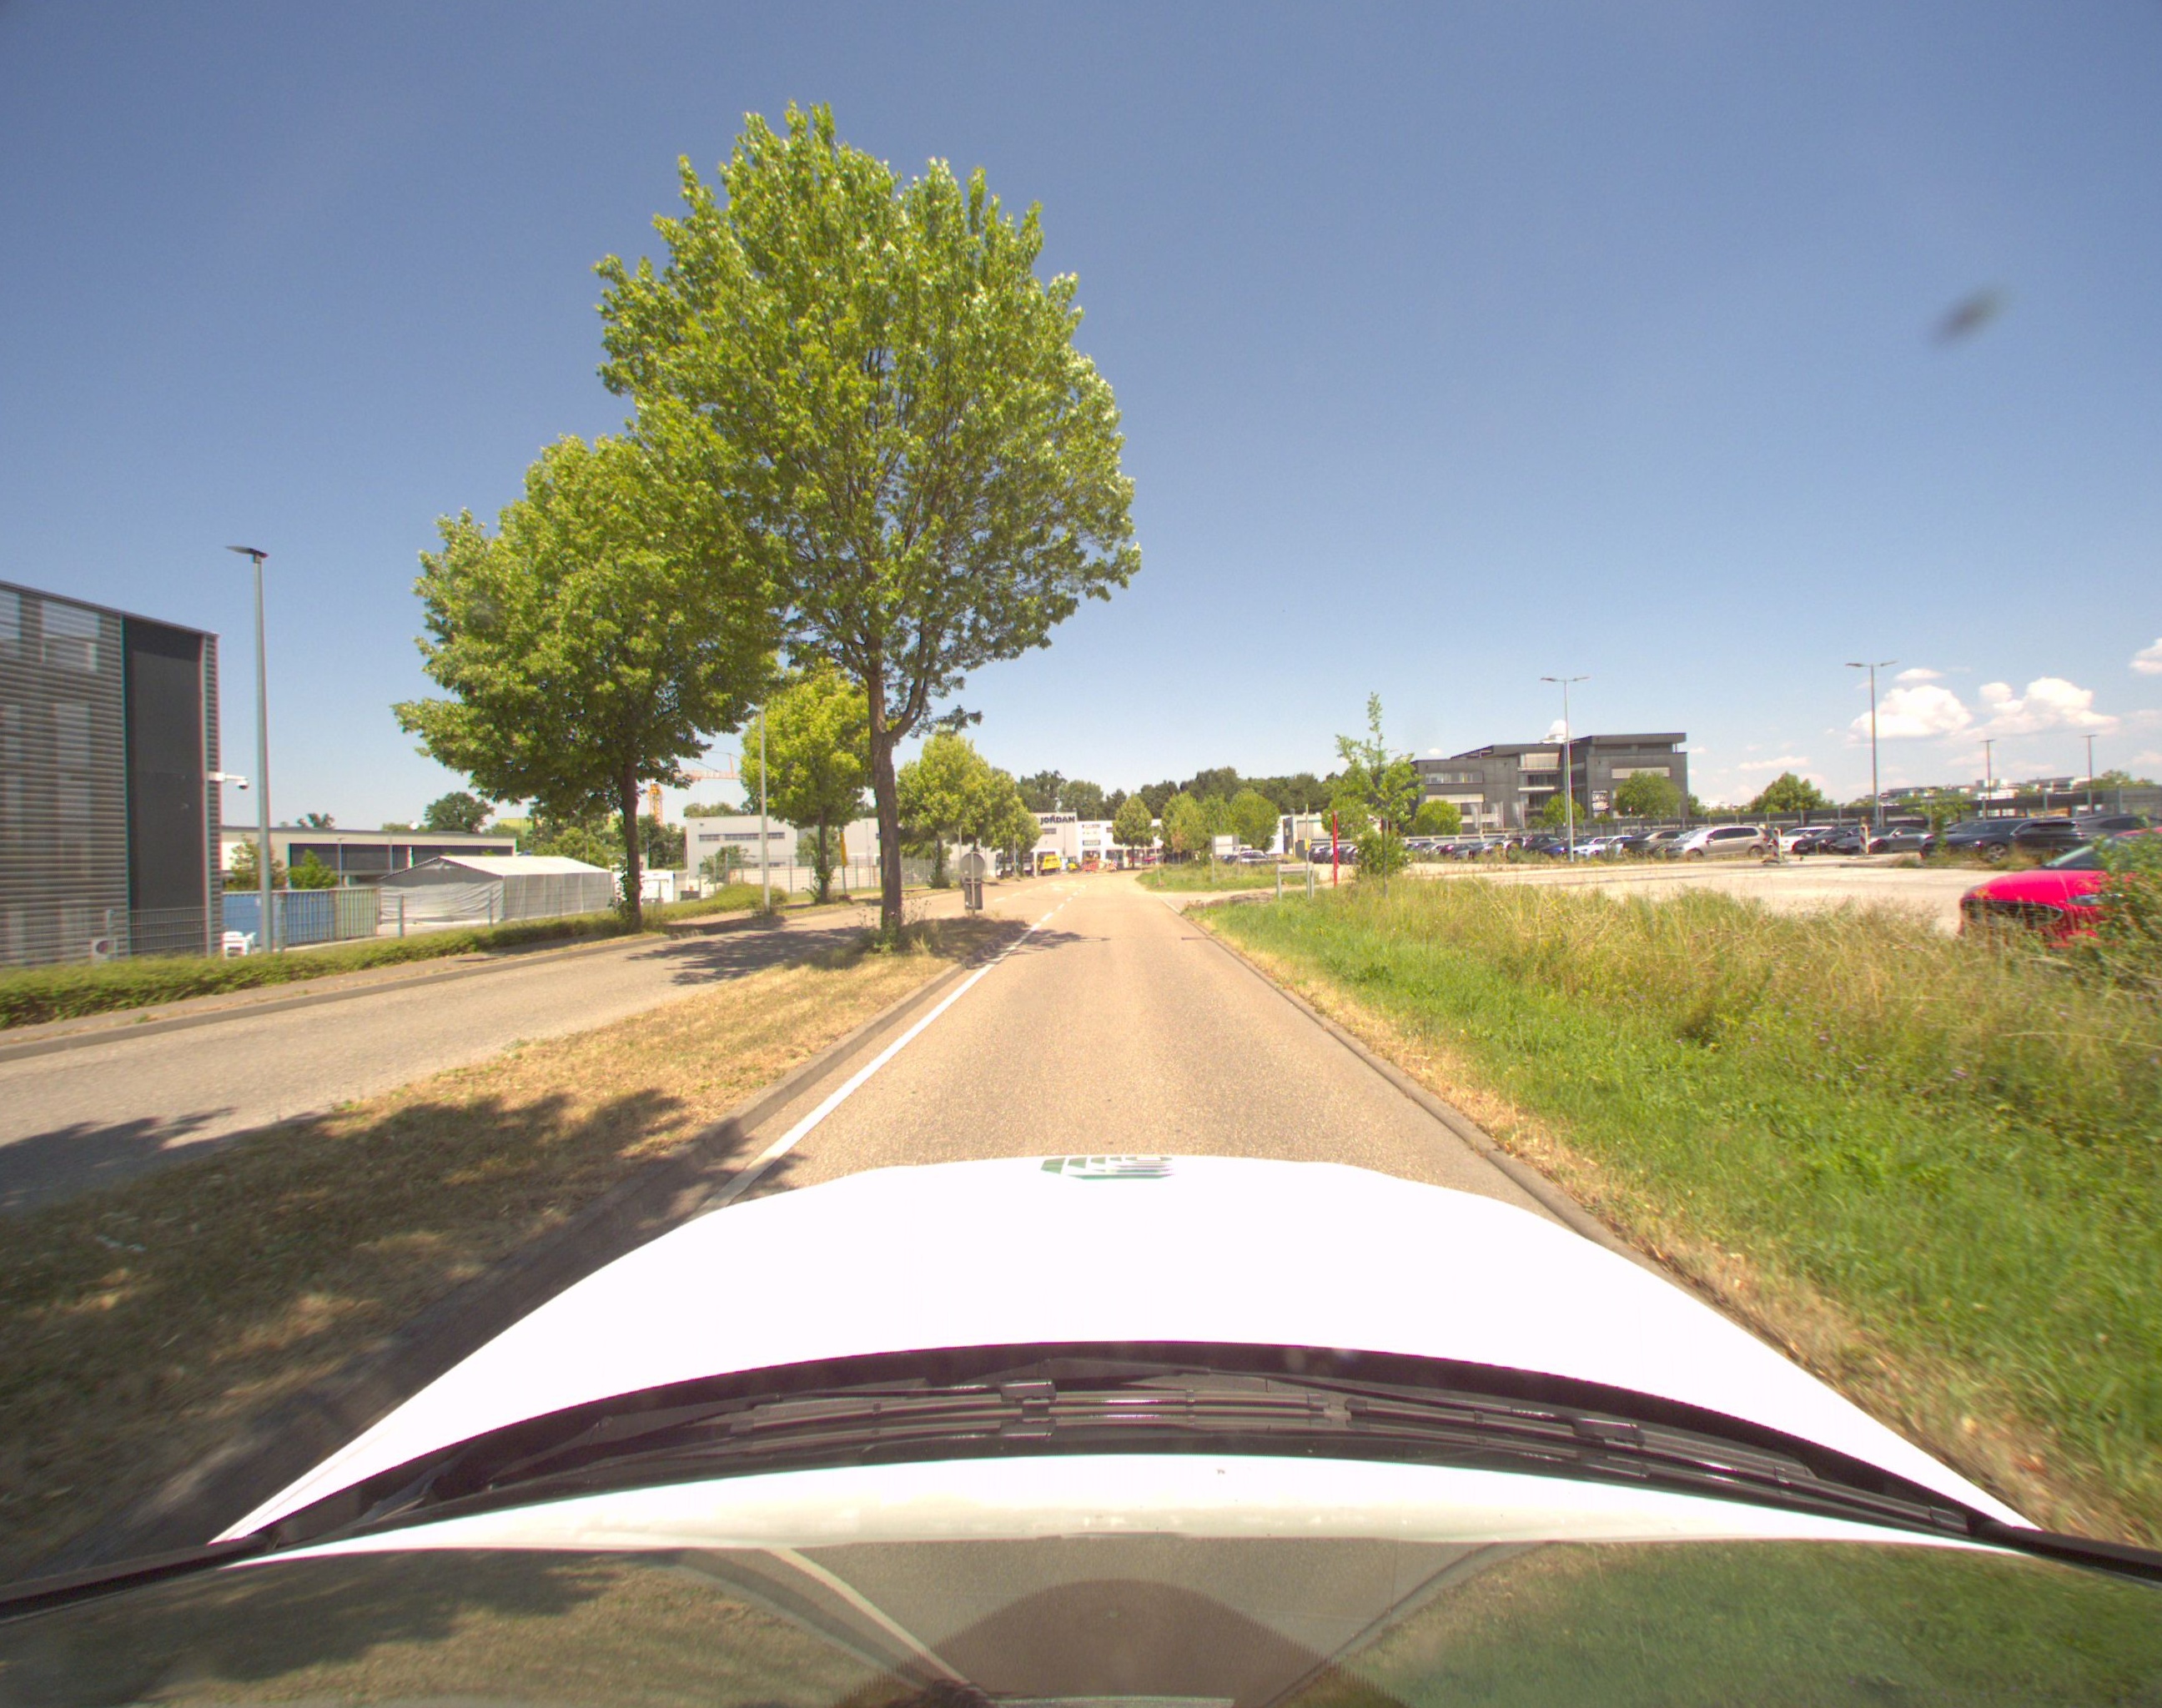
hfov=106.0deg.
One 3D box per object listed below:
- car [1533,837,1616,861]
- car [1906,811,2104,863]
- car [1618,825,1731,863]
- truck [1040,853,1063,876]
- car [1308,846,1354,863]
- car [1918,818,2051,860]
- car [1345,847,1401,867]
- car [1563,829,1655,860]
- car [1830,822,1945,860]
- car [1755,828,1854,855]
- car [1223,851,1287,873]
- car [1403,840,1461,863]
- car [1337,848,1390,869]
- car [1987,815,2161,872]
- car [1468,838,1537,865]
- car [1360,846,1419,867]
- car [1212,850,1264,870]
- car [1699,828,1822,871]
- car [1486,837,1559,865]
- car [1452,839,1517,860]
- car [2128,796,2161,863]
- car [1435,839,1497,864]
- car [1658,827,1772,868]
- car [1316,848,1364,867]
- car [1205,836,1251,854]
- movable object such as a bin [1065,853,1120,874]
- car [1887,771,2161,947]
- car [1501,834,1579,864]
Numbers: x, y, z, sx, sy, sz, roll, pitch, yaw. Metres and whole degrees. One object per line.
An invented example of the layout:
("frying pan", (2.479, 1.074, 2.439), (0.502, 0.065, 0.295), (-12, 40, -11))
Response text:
("car", (29.580, -0.317, 48.876), (3.976, 1.108, 1.768), (-3, 3, -2))
("car", (29.138, -0.513, 25.789), (3.972, 1.395, 1.928), (-3, -1, 1))
("car", (29.335, -0.504, 40.334), (4.354, 1.595, 1.768), (-3, 3, -2))
("truck", (-4.429, 1.485, 120.720), (2.935, 2.885, 5.797), (-3, 3, -6))
("car", (24.729, 0.014, 80.496), (3.976, 1.400, 1.768), (-3, 3, -2))
("car", (39.533, -0.687, 35.696), (3.976, 1.595, 1.768), (-3, 3, -2))
("car", (24.158, 0.238, 67.487), (3.976, 1.400, 1.768), (-3, 3, -2))
("car", (29.240, -0.539, 45.158), (3.976, 1.392, 1.768), (-3, 3, -2))
("car", (39.426, -0.660, 39.850), (3.976, 1.595, 1.768), (-3, 3, -2))
("car", (39.407, -0.683, 44.393), (3.977, 1.192, 1.730), (-3, 3, -3))
("car", (13.927, 0.663, 65.376), (4.683, 1.400, 1.924), (-3, 3, 3))
("car", (28.688, -0.203, 66.558), (3.976, 1.595, 1.768), (-3, 3, -2))
("car", (24.231, 0.412, 69.919), (3.976, 1.490, 1.768), (-3, 3, -2))
("car", (28.250, -0.309, 22.590), (3.972, 1.395, 1.928), (-3, -1, 1))
("car", (29.712, -0.203, 57.501), (3.976, 1.595, 1.768), (-3, 3, -2))
("car", (24.408, 0.200, 64.487), (3.975, 1.400, 1.769), (-3, 3, -1))
("car", (13.638, 0.518, 70.938), (4.151, 1.400, 1.768), (-3, 3, -2))
("car", (29.485, -0.221, 35.411), (3.976, 1.595, 1.768), (-3, 3, -2))
("car", (29.691, -0.242, 54.791), (3.976, 1.595, 1.768), (-3, 3, -2))
("car", (30.124, -0.369, 60.802), (3.976, 1.271, 1.768), (-3, 3, -2))
("car", (28.250, -0.691, 19.409), (3.972, 1.641, 1.928), (-3, -1, 1))
("car", (30.066, -0.210, 63.685), (3.976, 1.595, 1.768), (-3, 3, -2))
("car", (29.215, -0.328, 37.590), (3.976, 1.595, 1.768), (-3, 3, -2))
("car", (24.610, 0.322, 77.376), (3.976, 1.400, 1.768), (-3, 3, -2))
("car", (14.299, -0.868, 79.291), (4.151, 1.400, 1.768), (-3, 3, -2))
("movable object such as a bin", (1.769, 1.362, 121.195), (7.480, 2.499, 3.677), (-3, 3, 9))
("car", (11.971, -0.009, 9.069), (3.972, 1.724, 1.928), (-3, -1, 1))
("car", (29.186, -0.353, 51.852), (3.976, 1.595, 1.860), (-3, 3, -2))
